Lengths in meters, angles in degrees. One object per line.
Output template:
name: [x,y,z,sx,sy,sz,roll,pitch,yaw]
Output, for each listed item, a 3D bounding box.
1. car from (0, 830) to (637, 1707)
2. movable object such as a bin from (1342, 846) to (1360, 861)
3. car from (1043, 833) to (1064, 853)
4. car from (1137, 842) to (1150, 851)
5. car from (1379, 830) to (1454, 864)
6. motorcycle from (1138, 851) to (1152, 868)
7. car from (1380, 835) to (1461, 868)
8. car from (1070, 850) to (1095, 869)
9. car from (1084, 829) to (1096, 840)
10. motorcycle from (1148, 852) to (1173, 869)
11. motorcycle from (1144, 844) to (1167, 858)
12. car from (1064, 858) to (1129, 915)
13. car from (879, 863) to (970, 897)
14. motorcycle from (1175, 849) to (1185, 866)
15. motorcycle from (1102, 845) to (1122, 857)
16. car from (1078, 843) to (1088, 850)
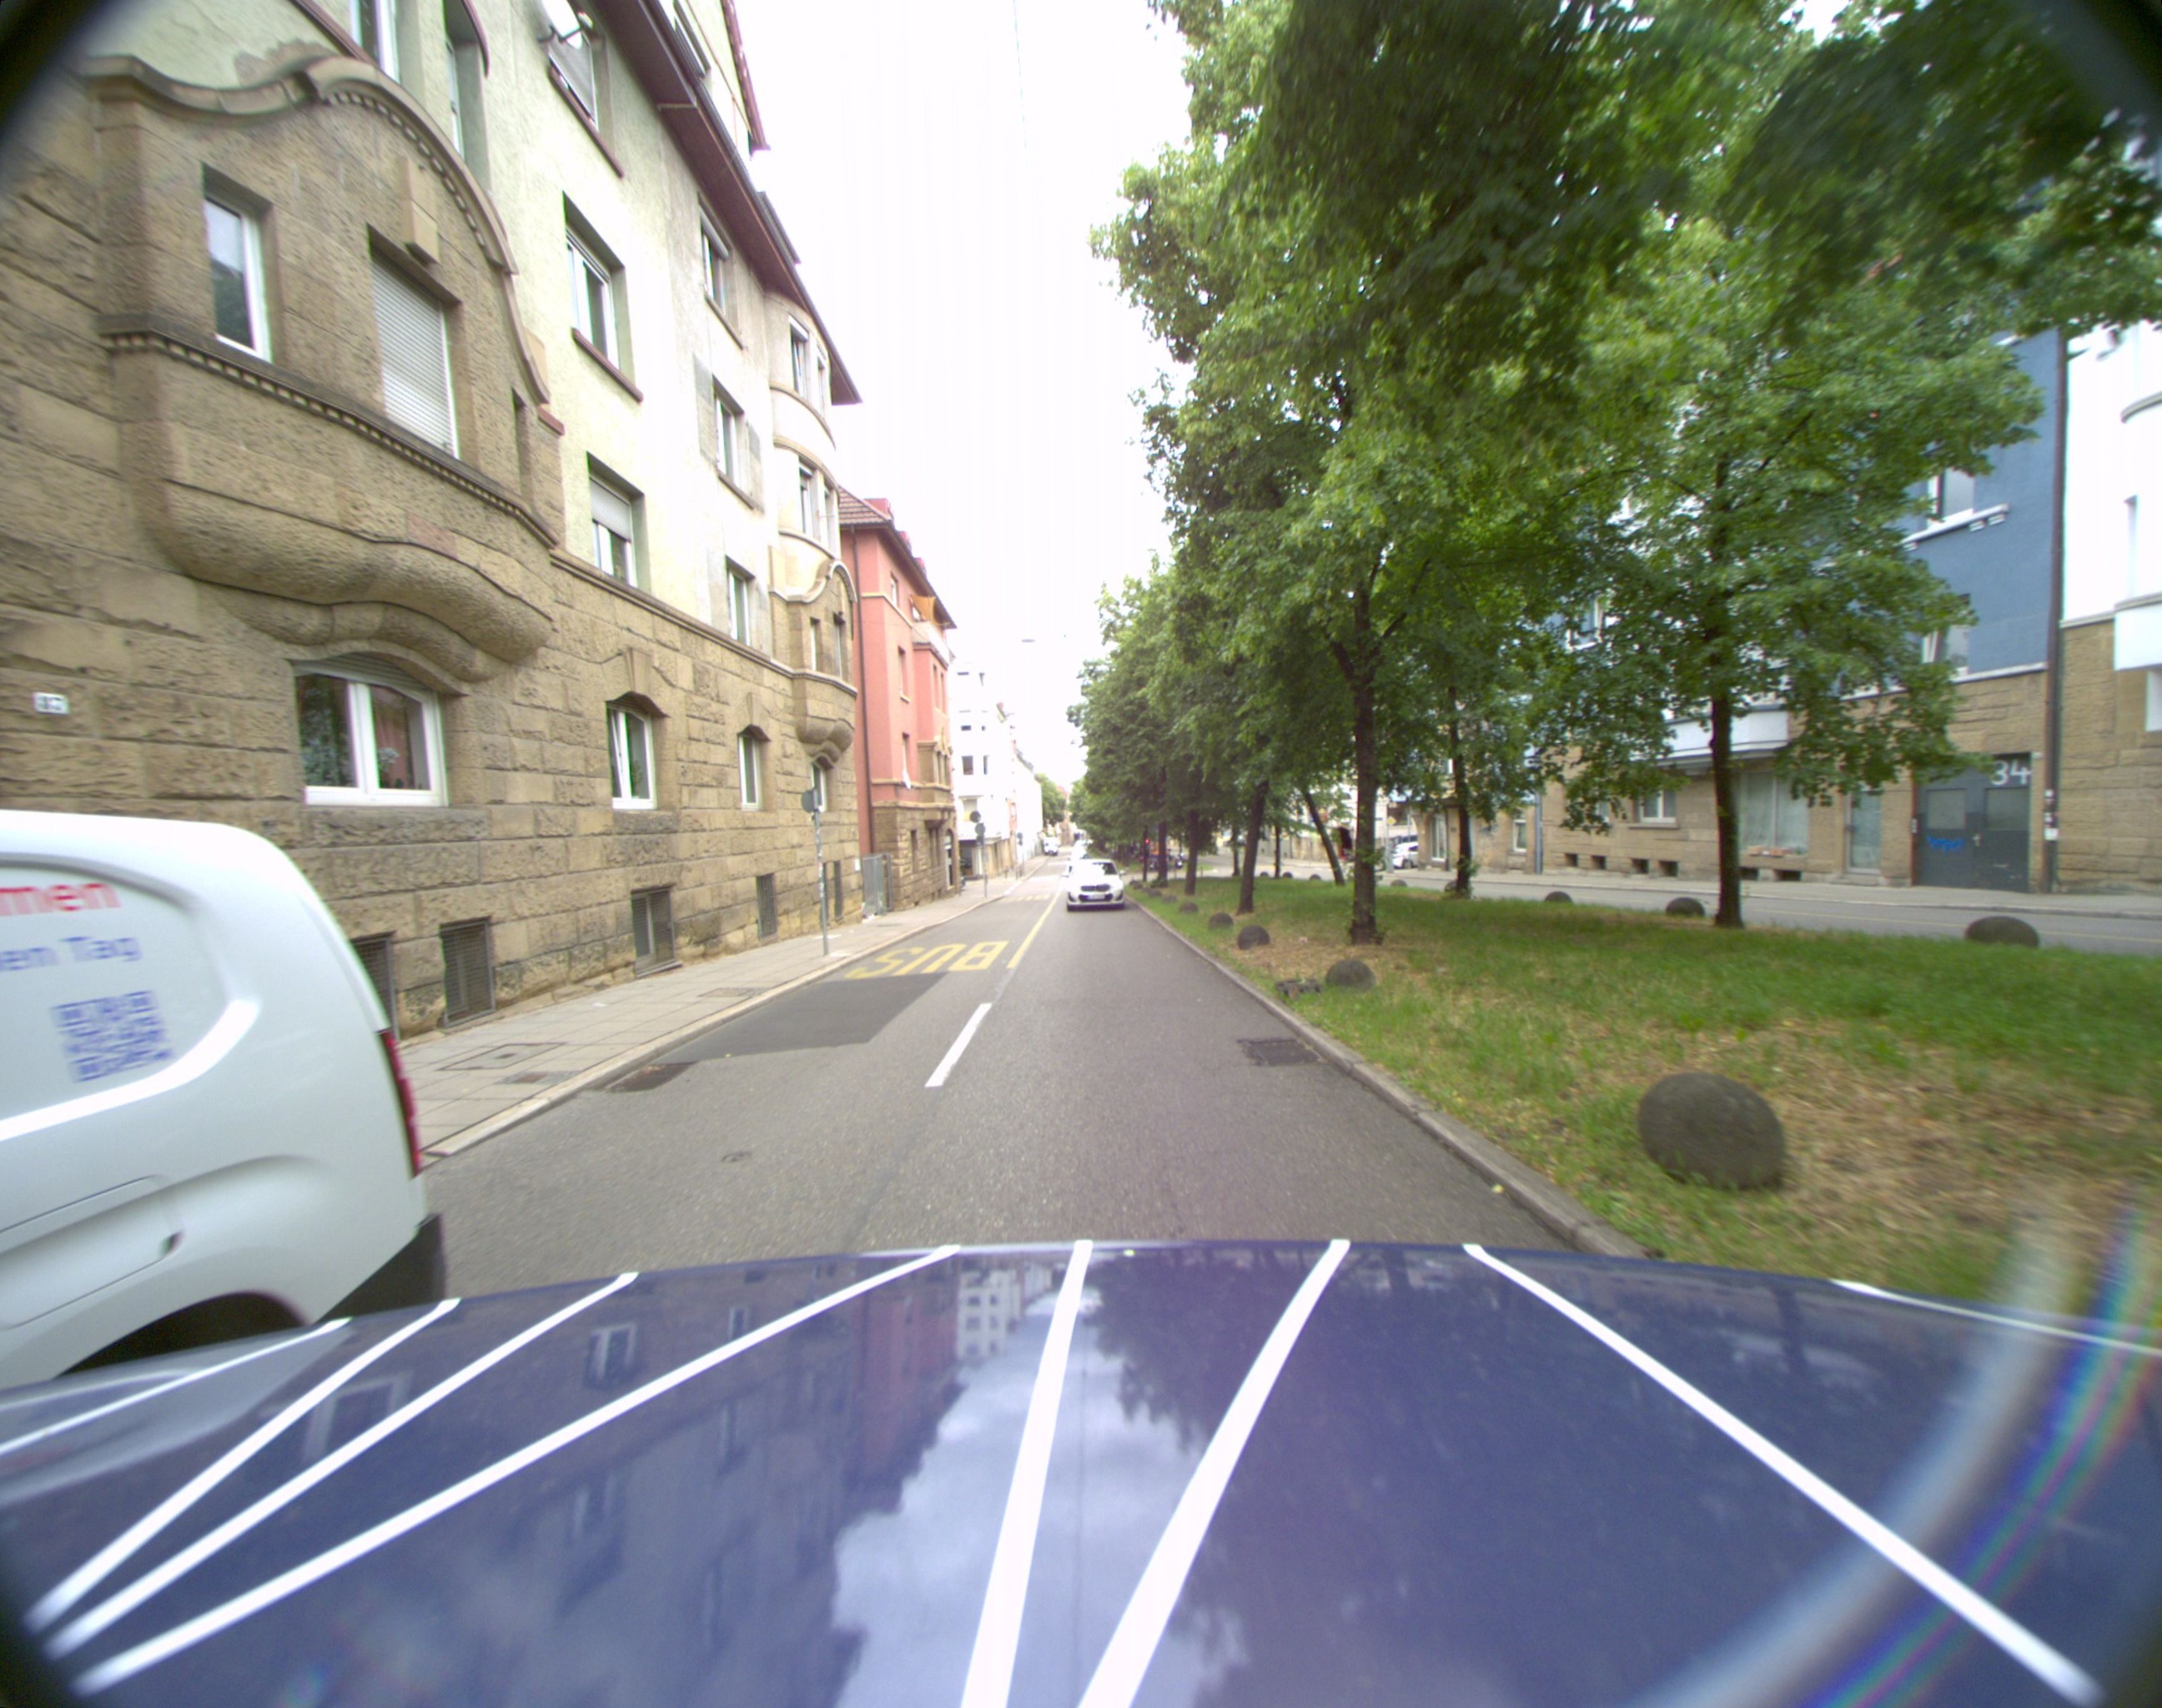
car: [-2.666,0.958,0.118,1.853,1.815,5.020,-3,2,4]
movable object such as a bin: [18.946,-0.051,53.332,0.888,0.988,0.668,-5,2,-1]
car: [-4.300,-1.800,120.777,3.026,3.045,7.165,-2,2,-1]
car: [11.111,-1.327,134.792,1.818,1.554,4.415,-2,1,-1]
car: [22.424,-0.492,50.910,4.007,1.690,1.871,-7,2,1]
motorcycle: [4.791,0.405,56.877,0.888,1.090,2.481,-3,3,7]
car: [20.574,-0.183,46.169,4.008,1.462,1.870,-7,3,-2]
car: [0.113,0.424,63.140,1.854,1.361,4.279,-4,2,-2]
car: [2.489,-5.640,218.987,3.026,3.045,7.165,-2,2,-1]
motorcycle: [5.777,0.451,55.237,1.735,1.090,0.550,-3,4,4]
motorcycle: [8.228,-0.312,84.313,2.424,1.475,0.963,-1,4,0]
car: [0.484,1.010,24.732,1.854,1.595,4.564,-3,-1,0]
car: [-9.582,1.583,46.947,5.141,1.541,2.237,-5,1,-5]
motorcycle: [7.423,0.259,57.001,0.750,1.068,1.851,-3,3,7]
motorcycle: [3.295,-0.279,81.035,2.041,1.126,0.454,-3,4,0]
car: [0.353,-1.443,146.404,1.784,1.420,4.281,-1,0,0]
